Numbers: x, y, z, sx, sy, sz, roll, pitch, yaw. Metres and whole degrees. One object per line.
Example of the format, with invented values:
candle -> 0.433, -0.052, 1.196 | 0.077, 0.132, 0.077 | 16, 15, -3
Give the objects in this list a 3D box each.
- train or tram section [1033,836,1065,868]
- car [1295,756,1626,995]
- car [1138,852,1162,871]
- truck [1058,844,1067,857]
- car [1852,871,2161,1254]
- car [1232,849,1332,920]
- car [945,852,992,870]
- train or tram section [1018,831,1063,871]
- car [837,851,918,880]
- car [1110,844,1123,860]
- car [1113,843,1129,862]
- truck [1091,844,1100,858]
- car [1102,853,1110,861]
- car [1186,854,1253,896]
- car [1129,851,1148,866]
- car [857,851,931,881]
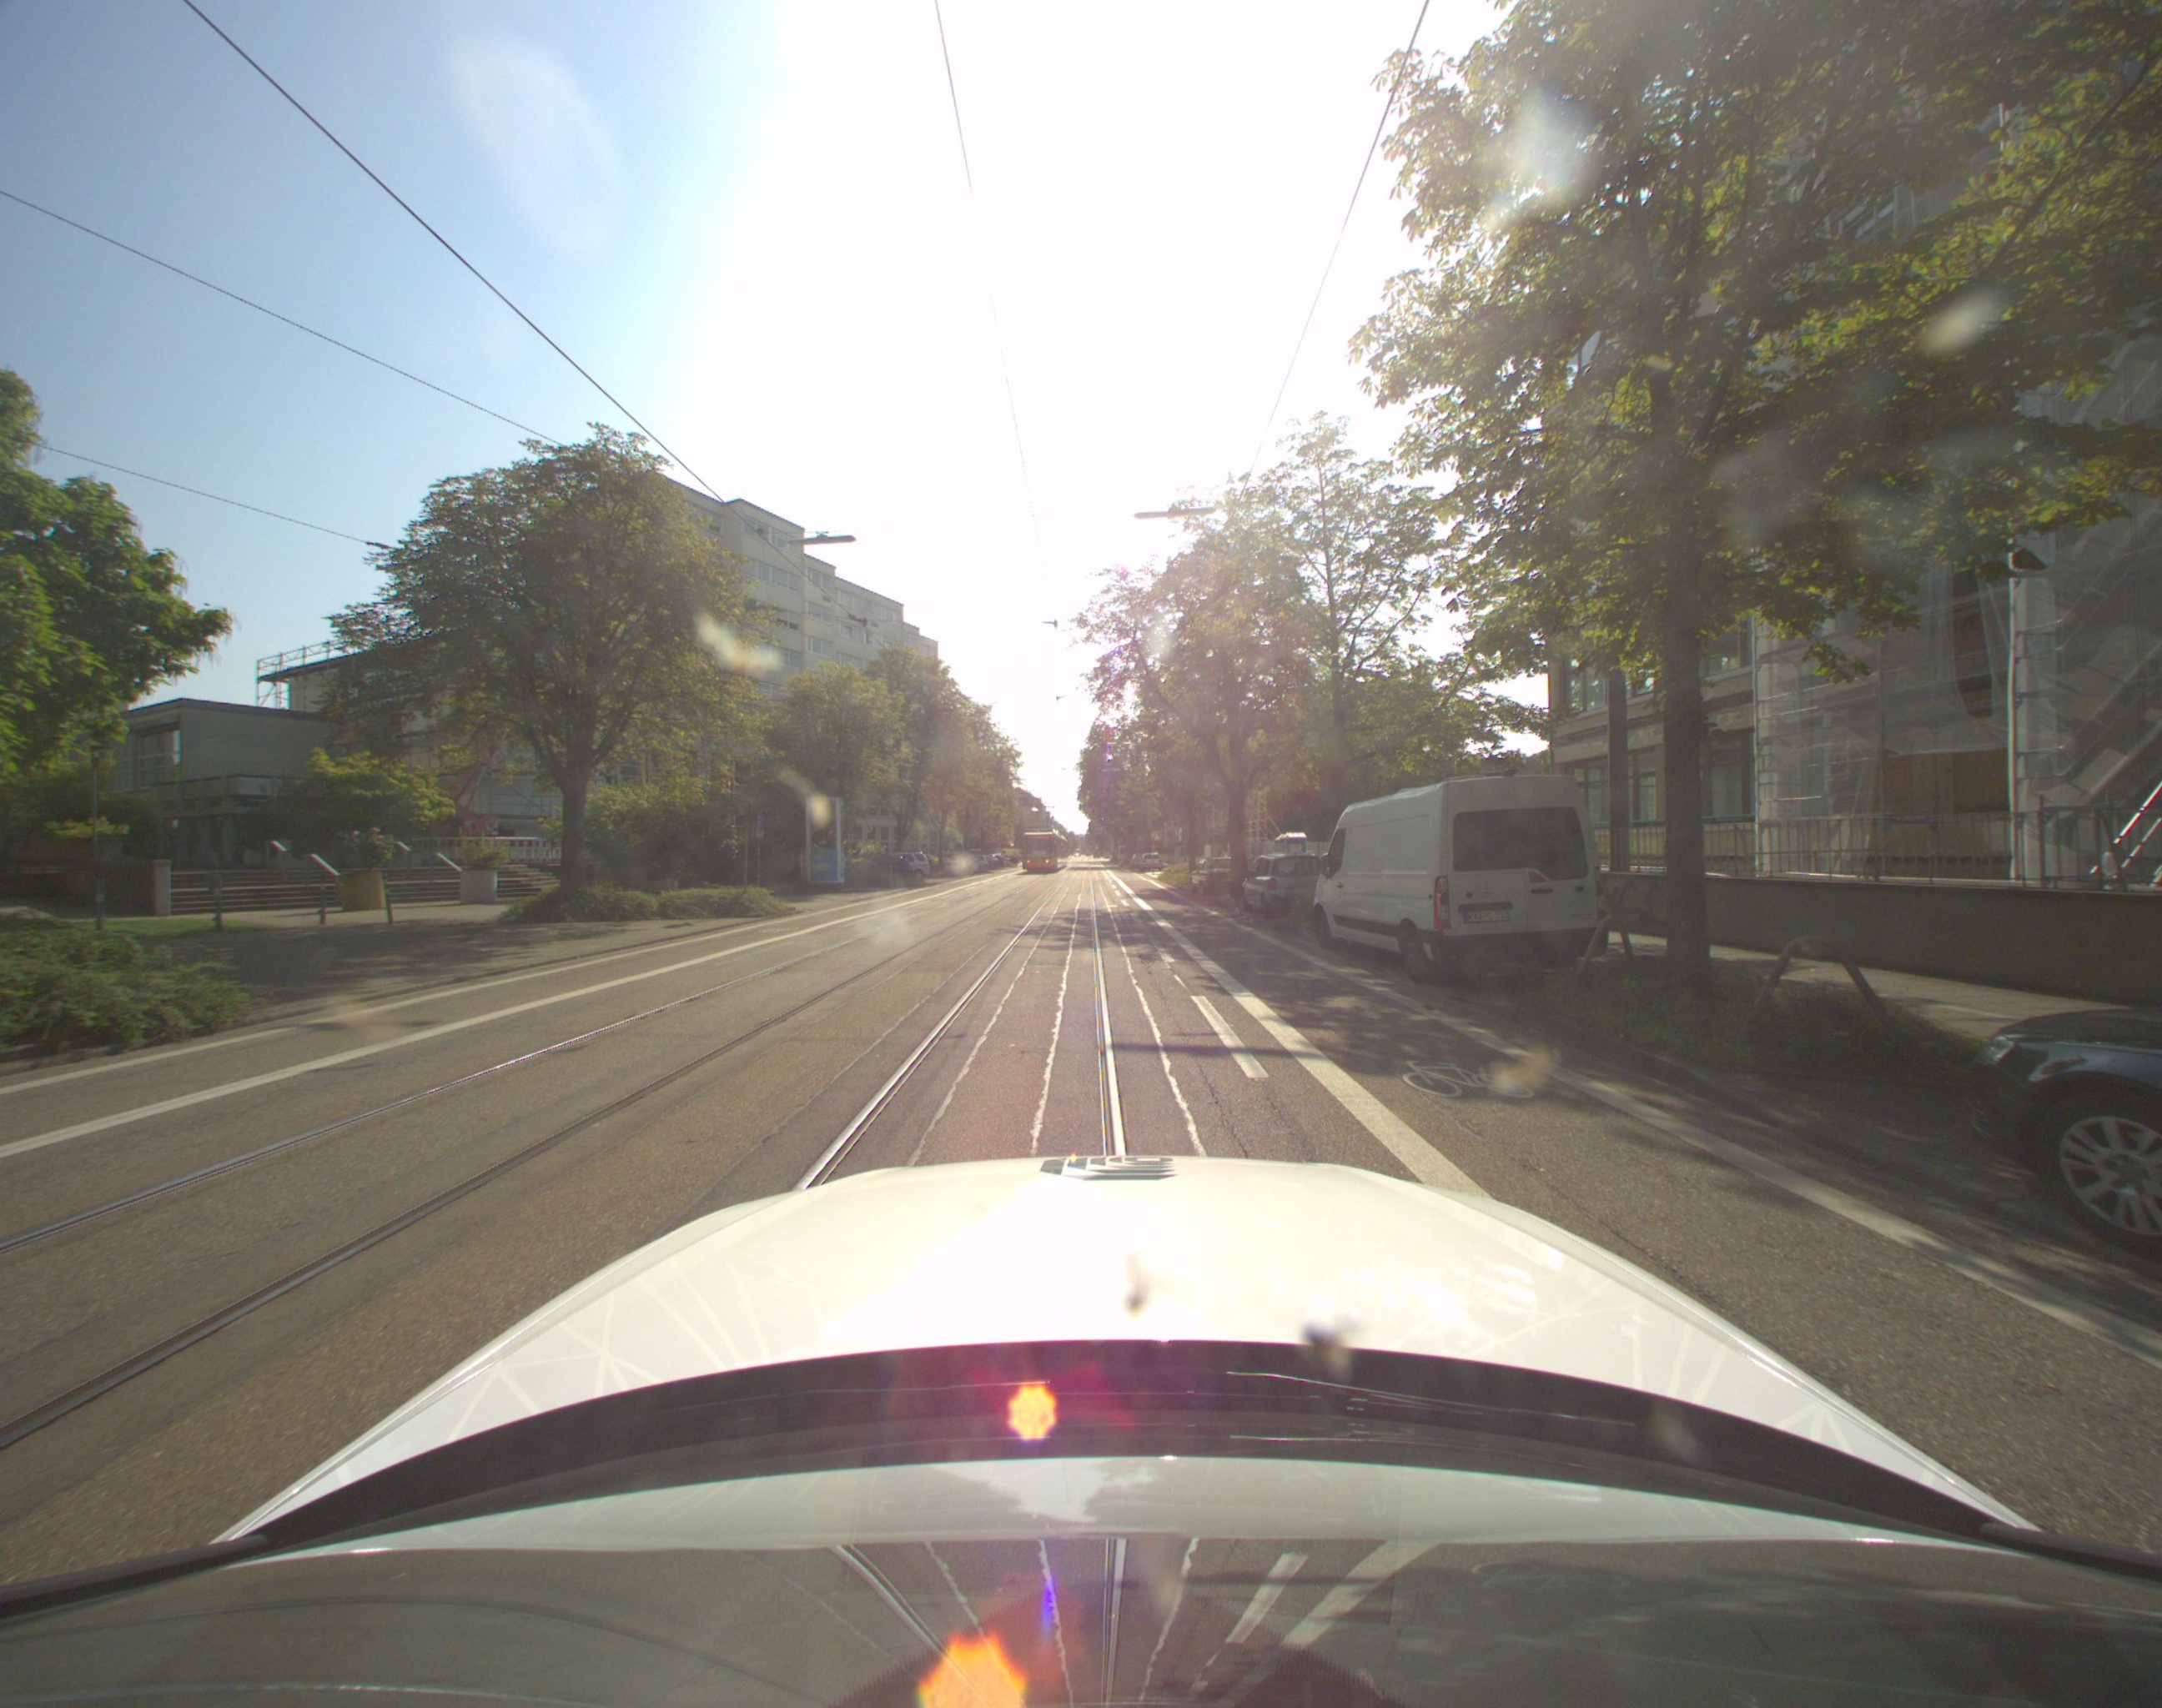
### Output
train or tram section -> -2.978, -0.198, 77.634 | 2.720, 2.849, 6.543 | -1, 0, 0
car -> 5.036, 0.234, 11.982 | 2.076, 2.552, 5.499 | -4, 0, -1
car -> 5.416, 0.549, 64.445 | 1.683, 1.418, 3.635 | -1, 0, 1
truck -> -4.523, -0.879, 195.117 | 1.987, 2.975, 4.570 | -1, 0, 0
car -> 4.842, 0.804, 1.883 | 1.611, 1.374, 4.828 | -1, 0, 1
car -> 5.125, 0.710, 21.227 | 1.658, 1.616, 3.877 | -2, 1, 1
car -> -9.420, 0.595, 68.248 | 1.550, 1.443, 3.787 | -1, 0, 40
train or tram section -> -3.077, -0.230, 66.610 | 2.720, 2.894, 15.455 | -1, 0, 1
car -> -10.806, 0.609, 43.401 | 3.816, 1.442, 1.673 | -1, 0, -42
car -> 5.714, -0.315, 132.983 | 1.997, 2.475, 4.478 | -1, 0, 1
car -> 5.164, -0.196, 106.310 | 1.997, 2.490, 4.478 | 0, 0, 1
truck -> 3.476, -0.713, 195.015 | 1.856, 3.131, 4.350 | -1, 0, -2
car -> 6.164, 0.759, 199.229 | 1.986, 1.838, 4.002 | -1, 0, 2
car -> 5.221, 0.752, 31.252 | 1.747, 1.377, 4.719 | -2, 0, 1
car -> 5.510, 0.434, 78.183 | 1.589, 1.418, 3.635 | -1, 0, 1
car -> -10.745, 0.688, 46.915 | 3.818, 1.621, 1.722 | -1, 0, -44
